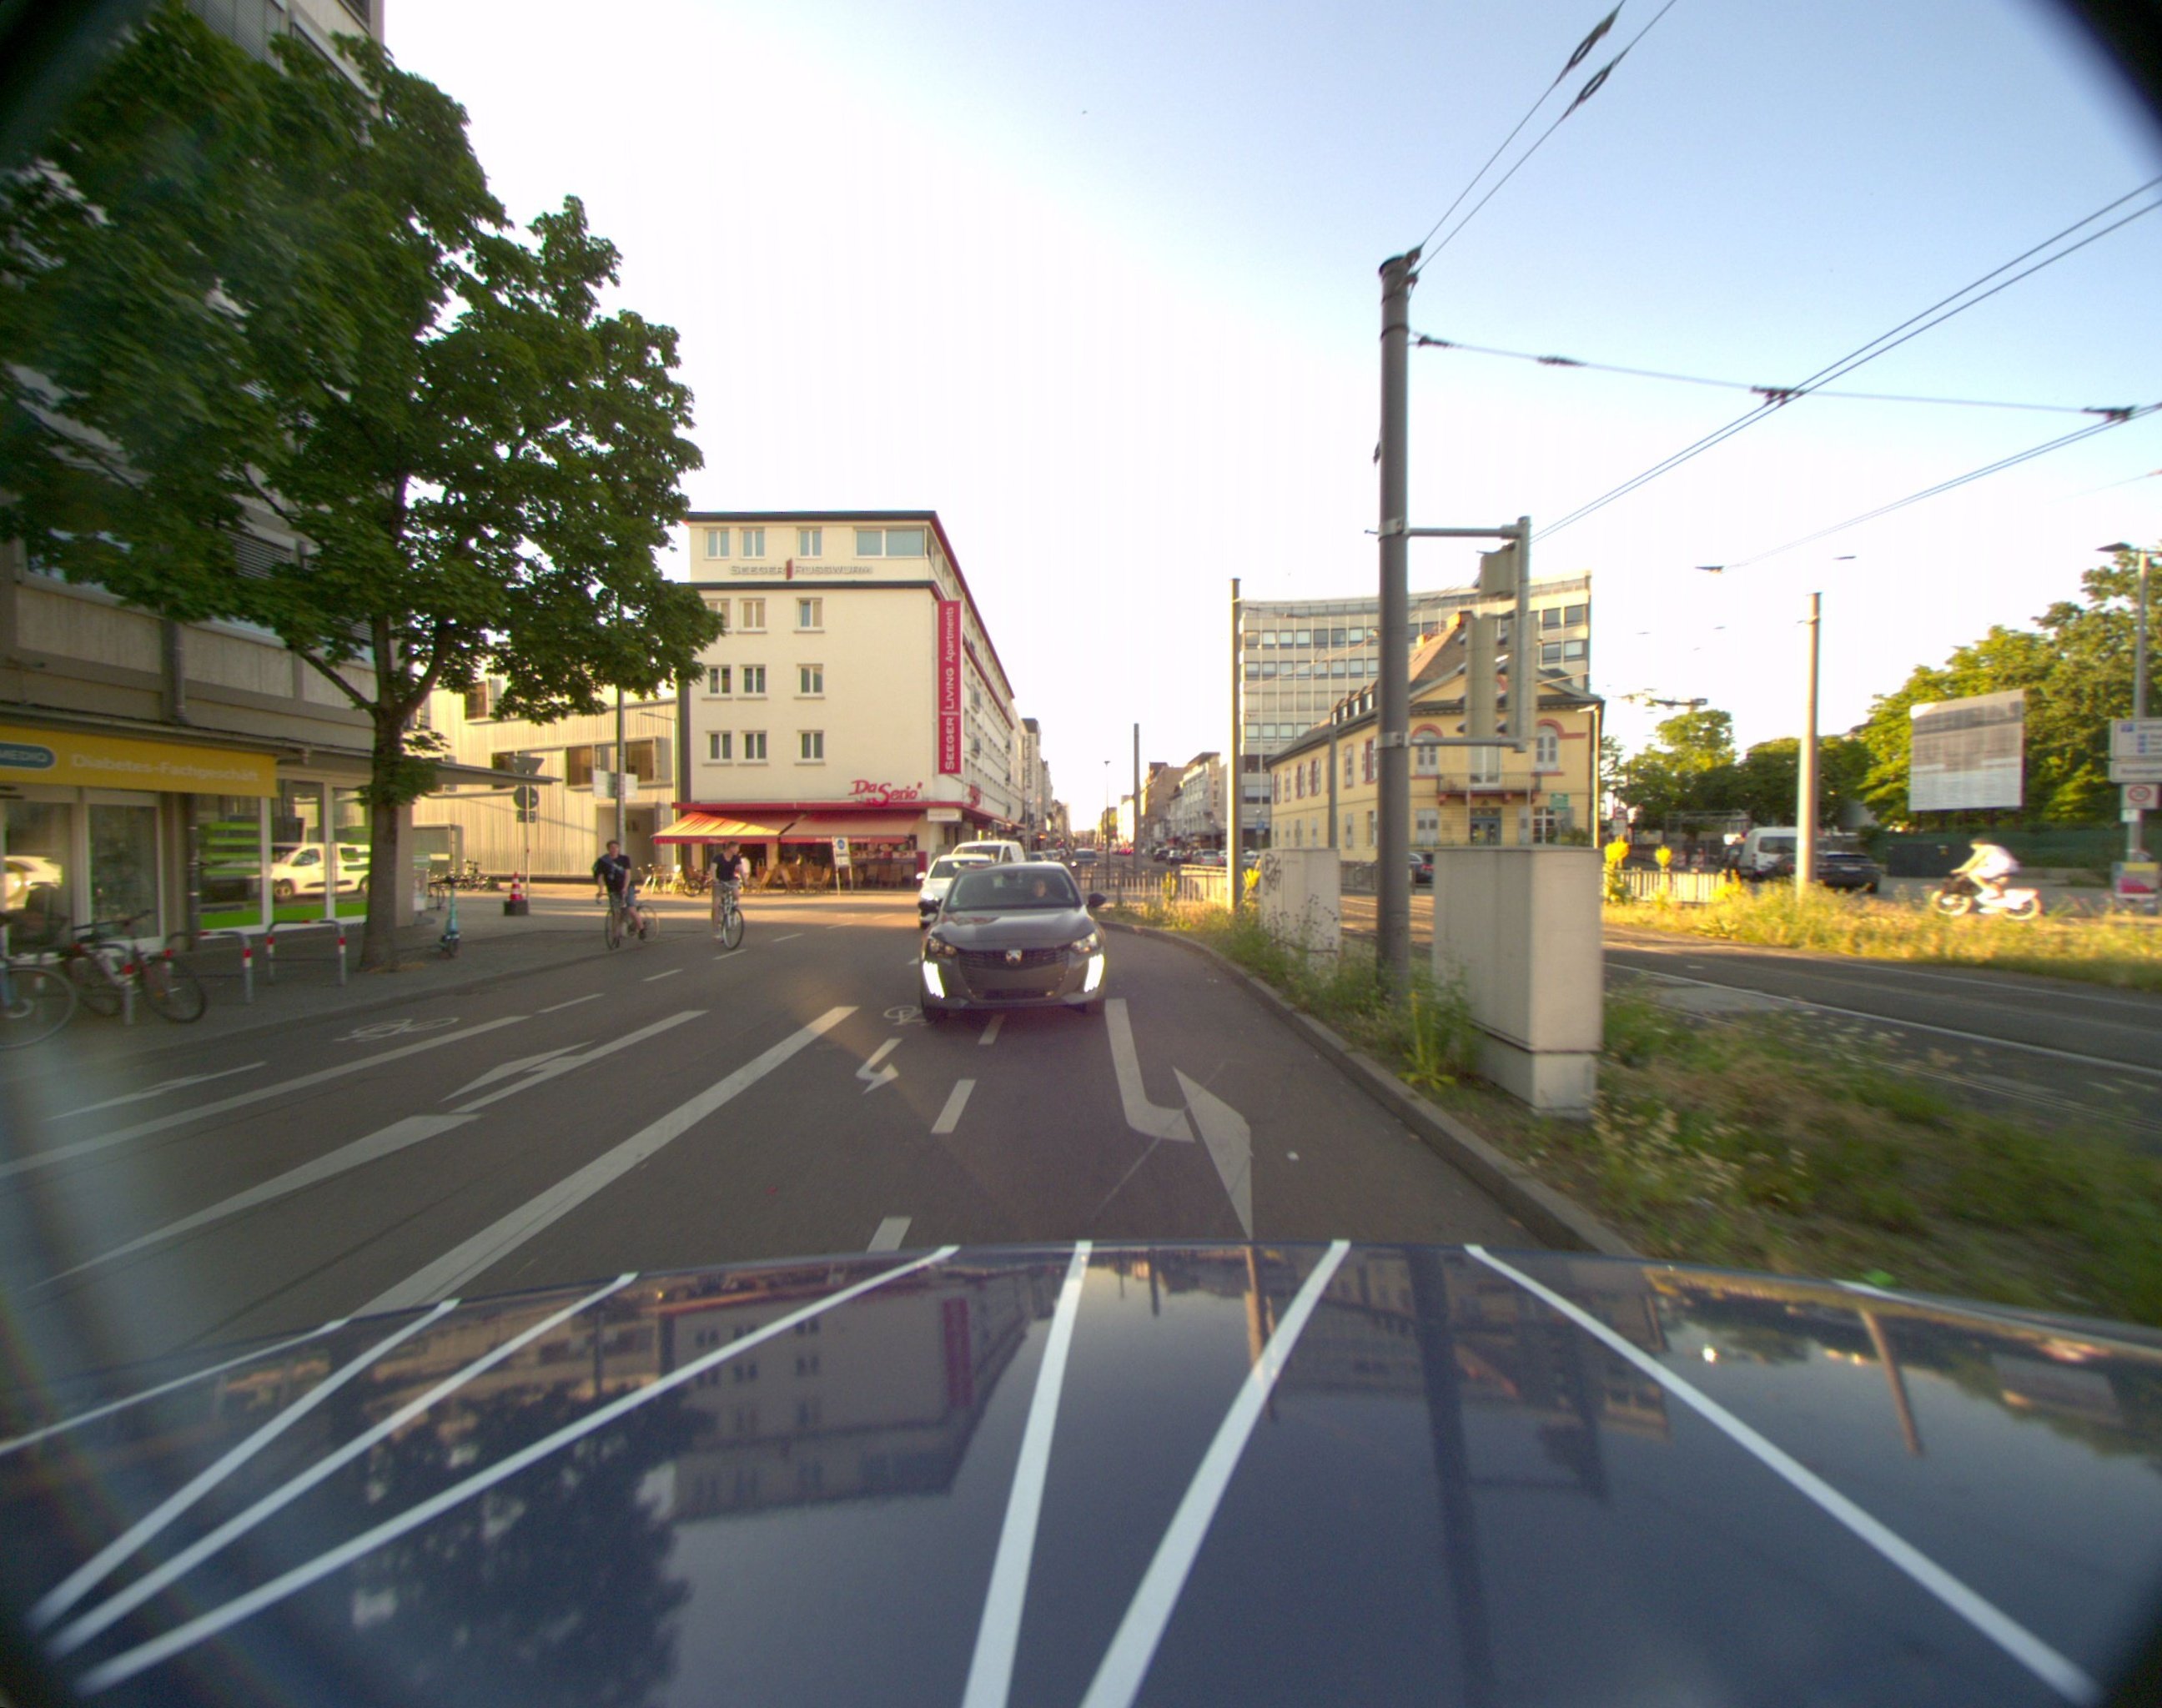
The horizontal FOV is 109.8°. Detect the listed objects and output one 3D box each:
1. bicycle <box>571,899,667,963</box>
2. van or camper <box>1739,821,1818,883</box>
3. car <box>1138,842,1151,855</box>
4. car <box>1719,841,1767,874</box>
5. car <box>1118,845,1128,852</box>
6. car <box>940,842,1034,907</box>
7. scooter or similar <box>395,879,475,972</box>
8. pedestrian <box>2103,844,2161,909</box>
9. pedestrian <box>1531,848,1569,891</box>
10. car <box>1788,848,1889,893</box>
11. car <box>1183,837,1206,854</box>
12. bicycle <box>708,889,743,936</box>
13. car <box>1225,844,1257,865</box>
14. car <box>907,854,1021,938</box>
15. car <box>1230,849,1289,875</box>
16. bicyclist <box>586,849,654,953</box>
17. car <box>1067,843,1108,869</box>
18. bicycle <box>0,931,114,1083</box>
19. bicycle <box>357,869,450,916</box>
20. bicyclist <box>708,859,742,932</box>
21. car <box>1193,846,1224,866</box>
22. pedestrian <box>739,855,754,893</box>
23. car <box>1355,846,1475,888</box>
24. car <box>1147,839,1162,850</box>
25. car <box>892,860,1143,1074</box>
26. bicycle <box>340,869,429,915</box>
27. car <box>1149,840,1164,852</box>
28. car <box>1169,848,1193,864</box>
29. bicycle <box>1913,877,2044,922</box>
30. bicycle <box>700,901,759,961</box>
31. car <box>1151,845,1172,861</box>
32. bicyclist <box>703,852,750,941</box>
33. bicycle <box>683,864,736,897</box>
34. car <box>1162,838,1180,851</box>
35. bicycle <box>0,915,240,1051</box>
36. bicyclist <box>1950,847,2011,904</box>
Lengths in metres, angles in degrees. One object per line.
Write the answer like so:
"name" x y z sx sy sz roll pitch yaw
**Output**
"bicycle" -7.872 1.289 13.040 0.675 0.896 1.689 0 1 -3
"van or camper" 34.171 -0.126 37.413 2.078 2.759 6.463 1 1 36
"car" 12.229 -1.065 145.819 1.999 2.362 3.999 0 0 -3
"car" 39.628 0.168 45.566 1.713 1.838 4.030 1 2 35
"car" 9.197 -1.311 167.024 1.849 1.499 3.998 0 1 -4
"car" -2.825 0.572 24.116 1.998 1.827 4.877 0 0 5
"scooter or similar" -9.877 1.062 11.620 1.277 1.314 0.516 1 2 30
"pedestrian" 29.099 0.599 20.945 0.876 1.714 0.831 2 2 38
"pedestrian" 16.681 0.533 27.038 1.041 1.494 1.007 1 2 37
"car" 28.360 0.547 28.604 1.779 1.534 4.299 1 1 33
"car" 13.375 -0.943 89.864 1.999 1.936 3.999 -1 0 -3
"bicycle" -7.465 1.209 15.937 0.601 0.820 1.736 -1 1 -27
"car" 13.394 -0.016 63.844 1.736 1.698 3.804 0 1 -2
"car" -2.403 0.808 16.729 1.815 1.441 4.561 0 2 0
"car" 10.312 0.412 44.172 1.915 1.402 4.334 0 1 -8
"bicyclist" -7.873 0.783 13.005 0.666 1.718 0.810 0 2 -3
"car" 0.464 0.084 48.599 1.997 1.565 4.304 0 2 9
"bicycle" -9.350 1.237 6.248 1.745 1.133 0.666 1 1 -7
"bicycle" -17.779 0.991 19.989 0.553 1.179 1.783 0 -1 17
"bicyclist" -7.479 0.854 15.949 0.589 1.478 0.716 -1 2 -27
"car" 10.101 0.138 60.589 1.838 1.589 4.071 -1 1 1
"pedestrian" -12.946 0.764 29.420 0.509 1.441 0.506 -1 1 -27
"car" 13.484 0.477 30.990 2.001 1.508 4.407 -3 2 -19
"car" 13.467 -1.750 138.633 1.999 2.002 3.997 -3 1 -4
"car" -0.779 0.869 8.158 1.917 1.495 4.698 0 1 -8
"bicycle" -18.734 1.013 20.485 0.538 1.179 1.721 0 -1 17
"car" 13.183 -1.365 132.499 1.999 1.936 3.998 0 1 -3
"car" 9.708 0.144 74.099 2.017 1.420 4.657 0 1 5
"bicycle" 20.508 1.009 17.412 0.681 0.887 1.793 -1 1 -25
"bicycle" -6.116 1.300 13.165 0.616 0.820 1.800 -1 1 -35
"car" 9.737 -0.154 92.249 1.999 1.979 4.118 0 1 -1
"bicyclist" -6.147 0.709 13.167 0.615 1.478 0.716 -1 2 -35
"bicycle" -13.624 0.970 27.907 1.632 1.160 0.600 0 4 5
"car" 13.377 -1.443 112.968 1.999 1.936 3.998 0 1 -3
"bicycle" -9.116 1.206 7.221 1.636 1.178 0.538 1 1 0
"bicyclist" 20.531 0.471 17.353 0.669 1.250 0.727 -1 1 -24
